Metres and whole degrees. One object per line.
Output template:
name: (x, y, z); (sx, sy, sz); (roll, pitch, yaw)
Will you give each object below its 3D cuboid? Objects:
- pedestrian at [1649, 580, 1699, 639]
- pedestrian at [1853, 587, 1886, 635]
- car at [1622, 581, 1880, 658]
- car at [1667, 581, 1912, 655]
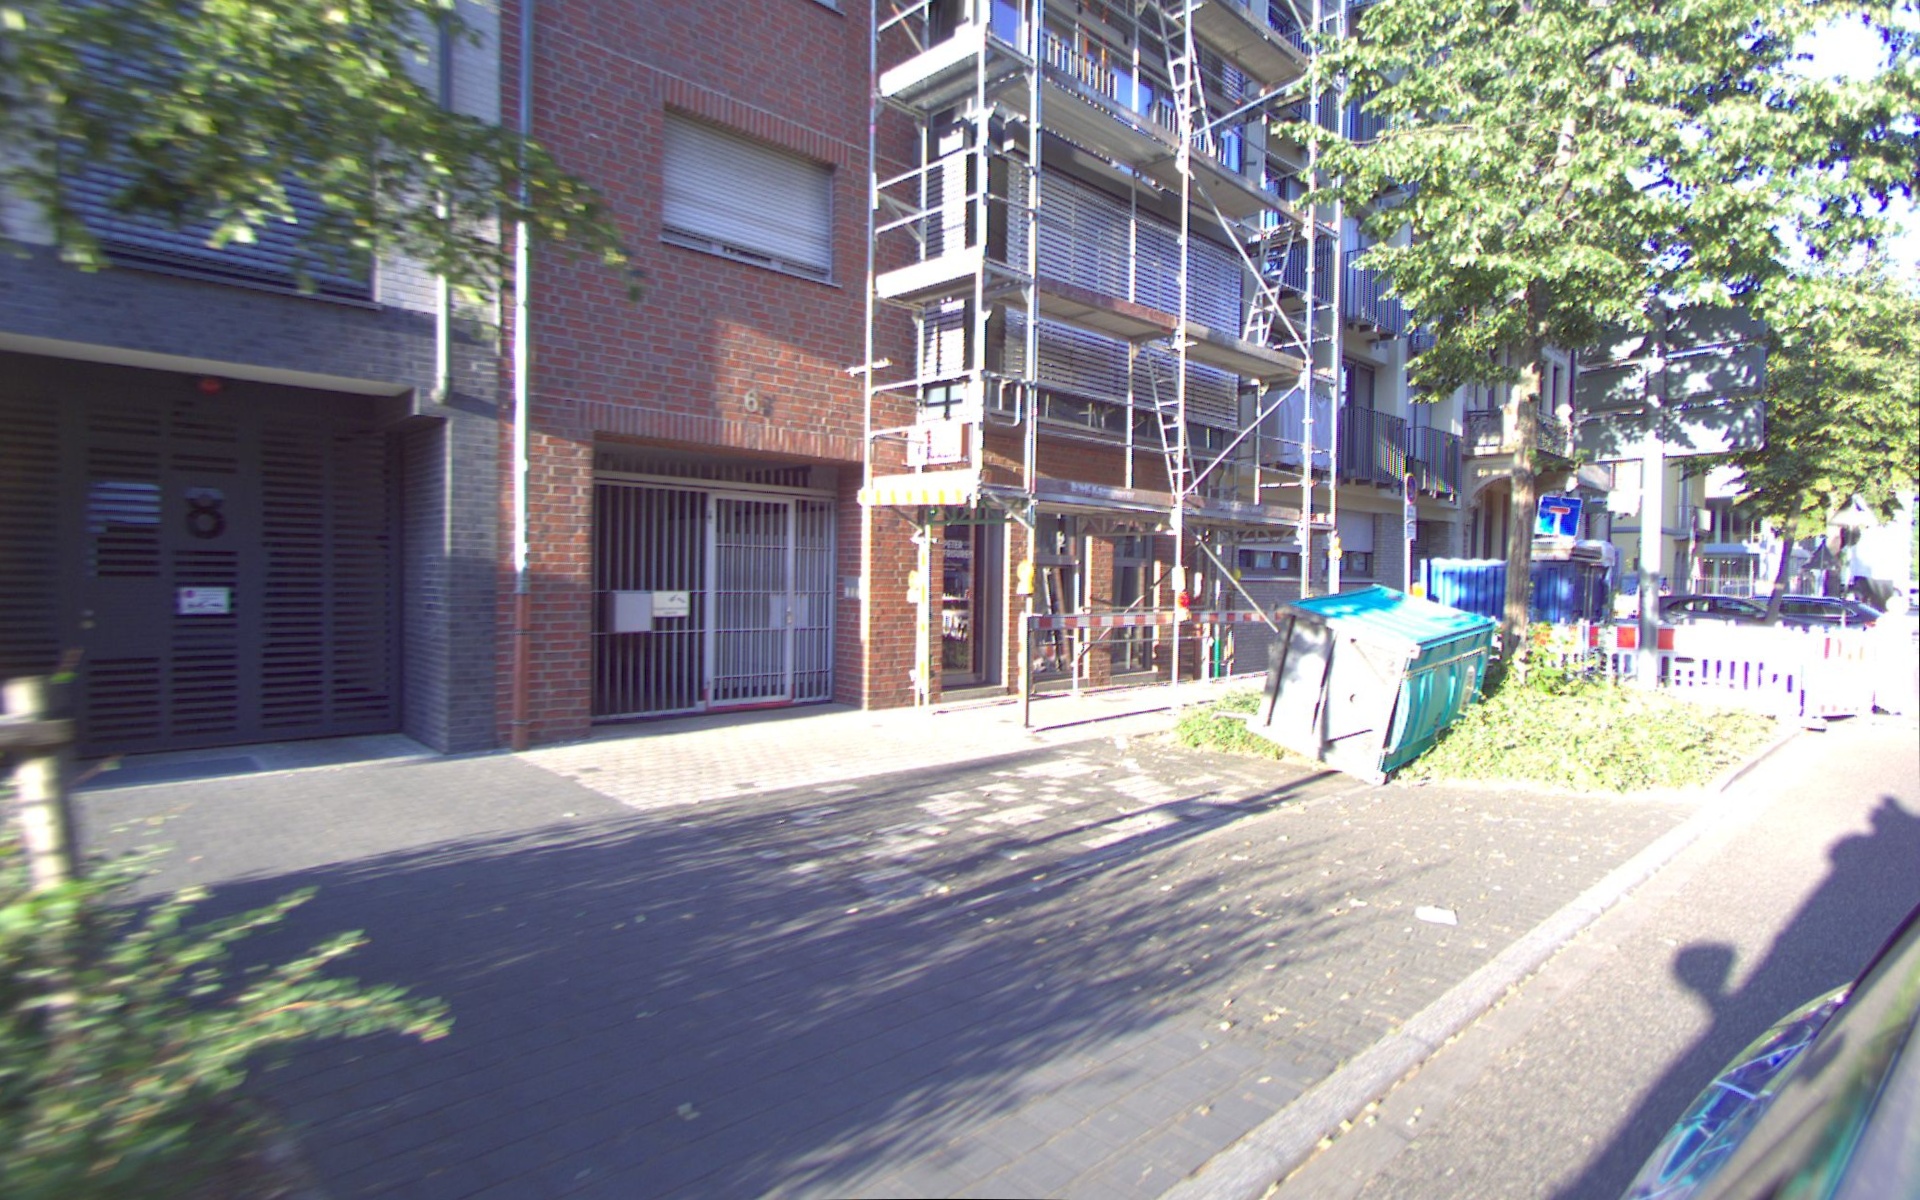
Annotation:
pedestrian: (20.807, 0.272, 29.505); (0.943, 1.679, 0.639); (1, 1, 5)
pedestrian: (31.049, 0.366, 34.553); (0.459, 1.614, 0.674); (0, 1, -31)
car: (18.627, 0.384, 24.023); (1.835, 1.497, 4.536); (0, 3, -40)
car: (20.738, 0.389, 25.451); (1.879, 1.529, 4.533); (1, 2, -43)
